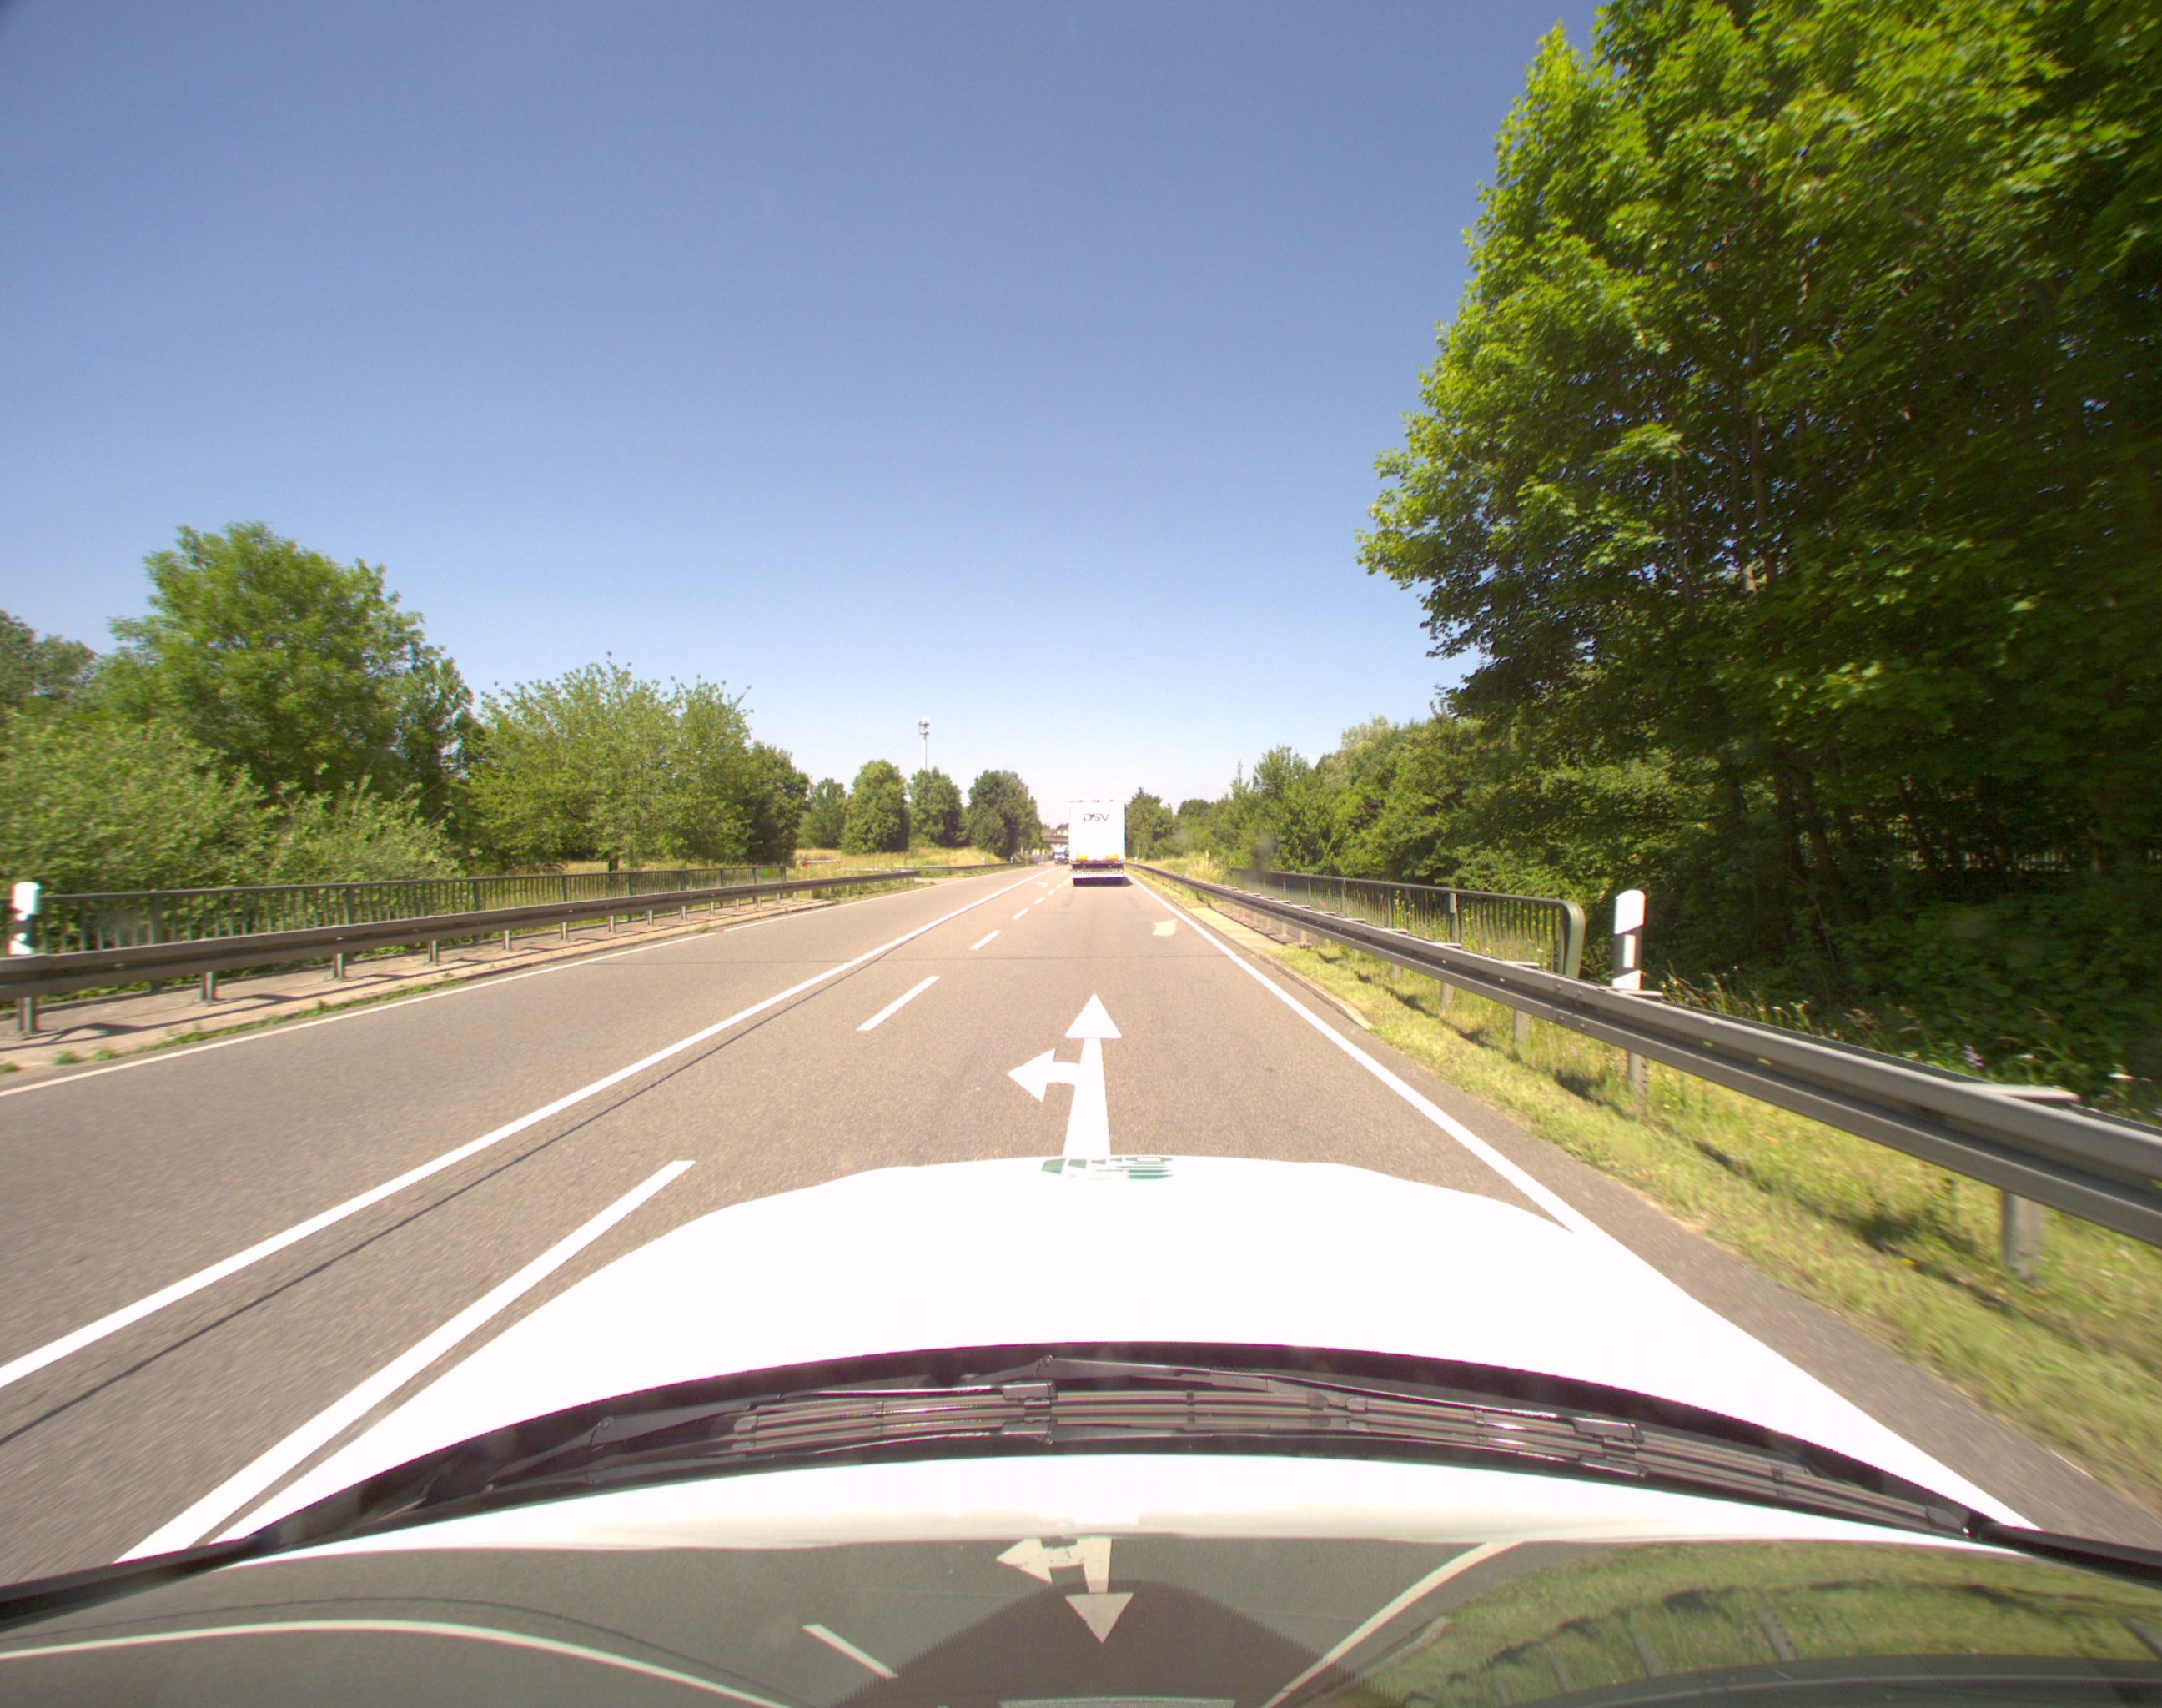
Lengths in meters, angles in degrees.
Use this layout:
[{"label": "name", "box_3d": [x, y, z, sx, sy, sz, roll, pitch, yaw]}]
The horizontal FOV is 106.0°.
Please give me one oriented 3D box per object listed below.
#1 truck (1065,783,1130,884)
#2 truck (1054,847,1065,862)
[{"label": "truck", "box_3d": [0.880, -0.885, 41.998, 2.939, 4.569, 9.865, -1, -1, 1]}, {"label": "truck", "box_3d": [-5.368, 0.172, 207.843, 2.345, 3.750, 12.623, -1, 0, 0]}]
